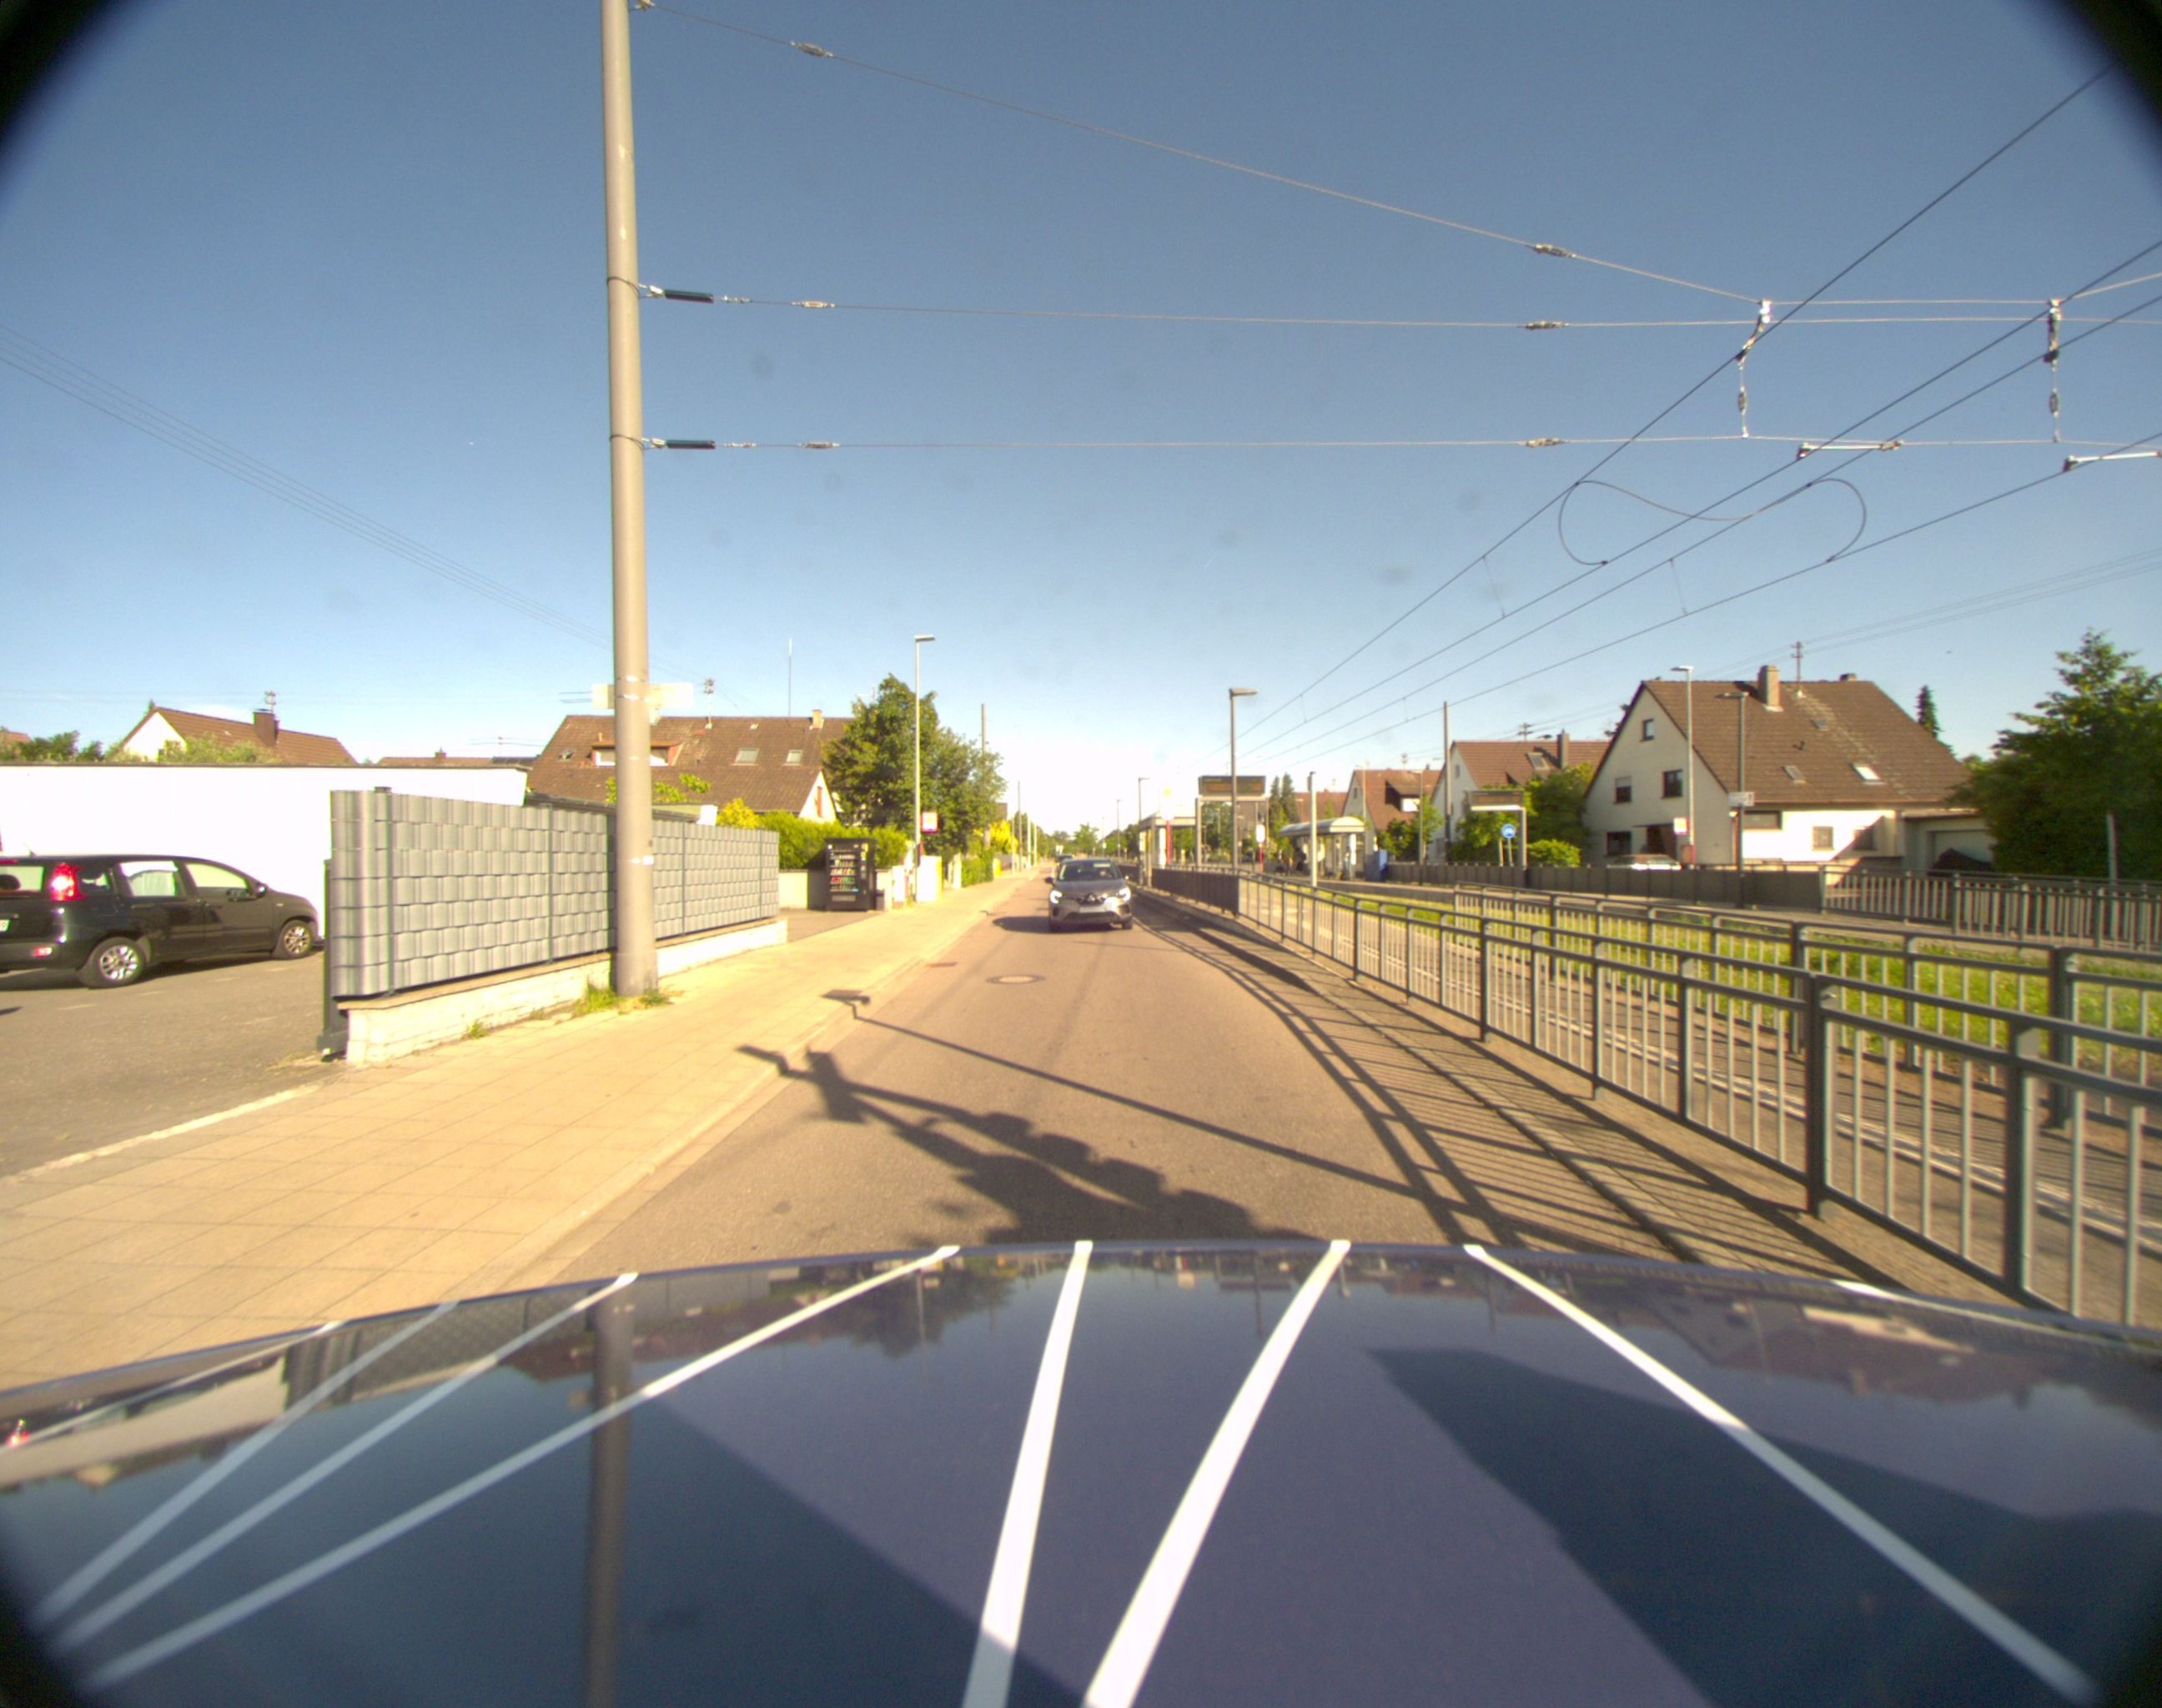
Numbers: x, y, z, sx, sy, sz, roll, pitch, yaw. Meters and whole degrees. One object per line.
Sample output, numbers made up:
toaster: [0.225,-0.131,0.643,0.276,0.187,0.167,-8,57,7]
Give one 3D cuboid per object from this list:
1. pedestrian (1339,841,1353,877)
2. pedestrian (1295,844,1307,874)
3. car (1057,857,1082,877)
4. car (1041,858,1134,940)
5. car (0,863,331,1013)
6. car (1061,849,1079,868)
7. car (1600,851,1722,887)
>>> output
pedestrian: [12.949,0.264,37.110,0.622,1.742,0.442,0,0,19]
pedestrian: [12.813,0.293,44.345,0.534,1.742,0.543,-1,0,-1]
car: [-0.888,0.976,57.653,1.688,1.379,3.999,-2,0,-4]
car: [0.191,0.932,17.536,1.829,1.570,4.000,-3,0,2]
car: [-11.710,0.898,9.465,1.561,1.453,3.486,-2,1,-9]
car: [-1.351,0.549,94.403,2.090,2.226,4.722,-2,0,1]
car: [25.888,0.638,33.998,3.989,1.526,1.999,-1,0,-3]
